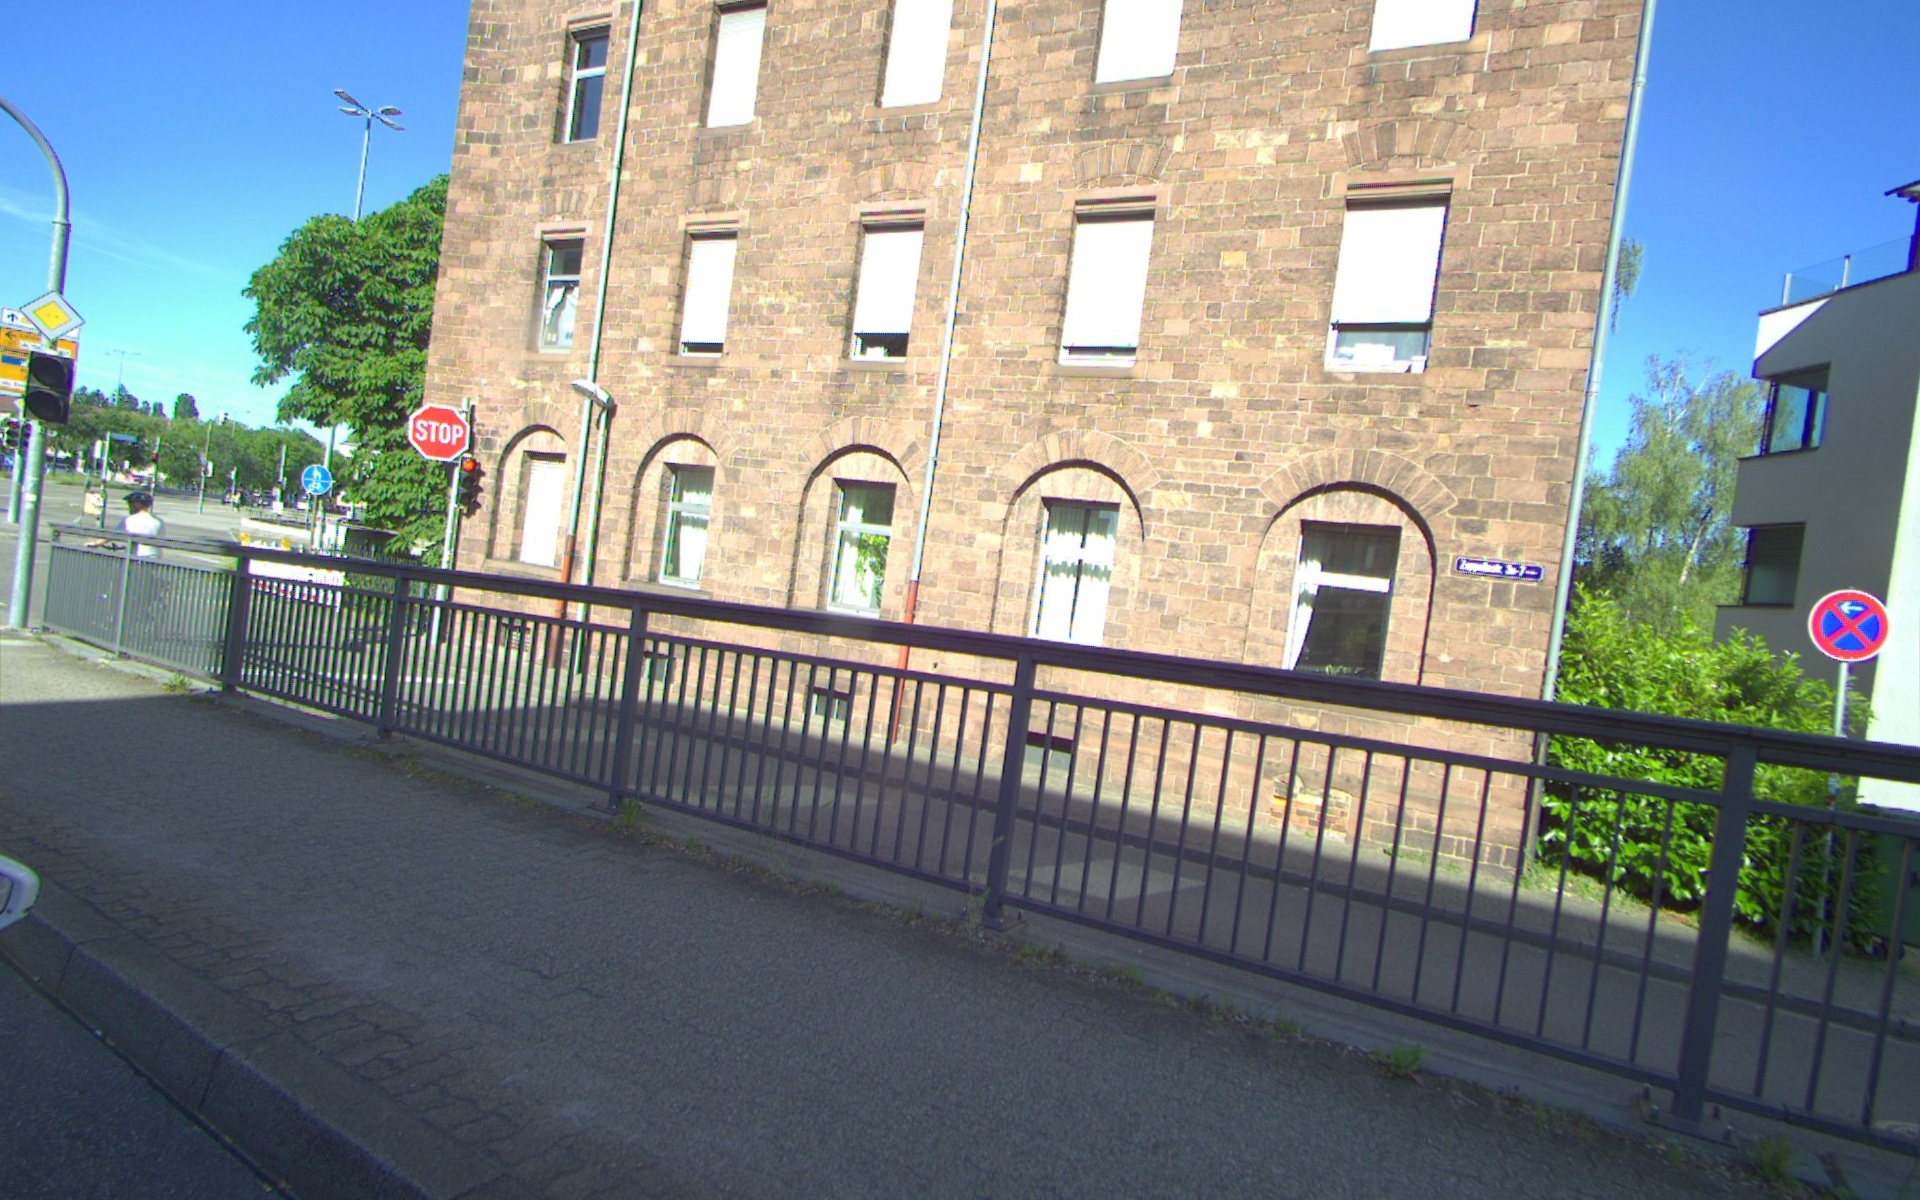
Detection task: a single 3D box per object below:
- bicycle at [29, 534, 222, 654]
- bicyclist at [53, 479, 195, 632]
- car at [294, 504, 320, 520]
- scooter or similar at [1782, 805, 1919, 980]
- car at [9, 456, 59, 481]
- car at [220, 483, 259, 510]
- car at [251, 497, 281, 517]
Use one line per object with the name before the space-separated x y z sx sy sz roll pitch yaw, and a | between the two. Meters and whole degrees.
bicycle | -10.406 -0.083 12.533 2.358 1.124 0.802 9 0 24
bicyclist | -10.462 -0.545 12.604 1.065 1.725 0.802 7 -1 24
car | -84.597 -11.393 130.312 1.974 1.660 3.977 7 1 -23
scooter or similar | 8.257 2.611 9.085 0.771 1.232 1.463 8 -2 23
car | -80.255 -11.389 87.270 1.976 1.470 3.974 8 -1 -26
car | -68.263 -9.783 95.361 1.974 1.814 3.981 8 -2 -23
car | -77.448 -10.323 112.310 1.976 1.816 3.973 7 1 -26
